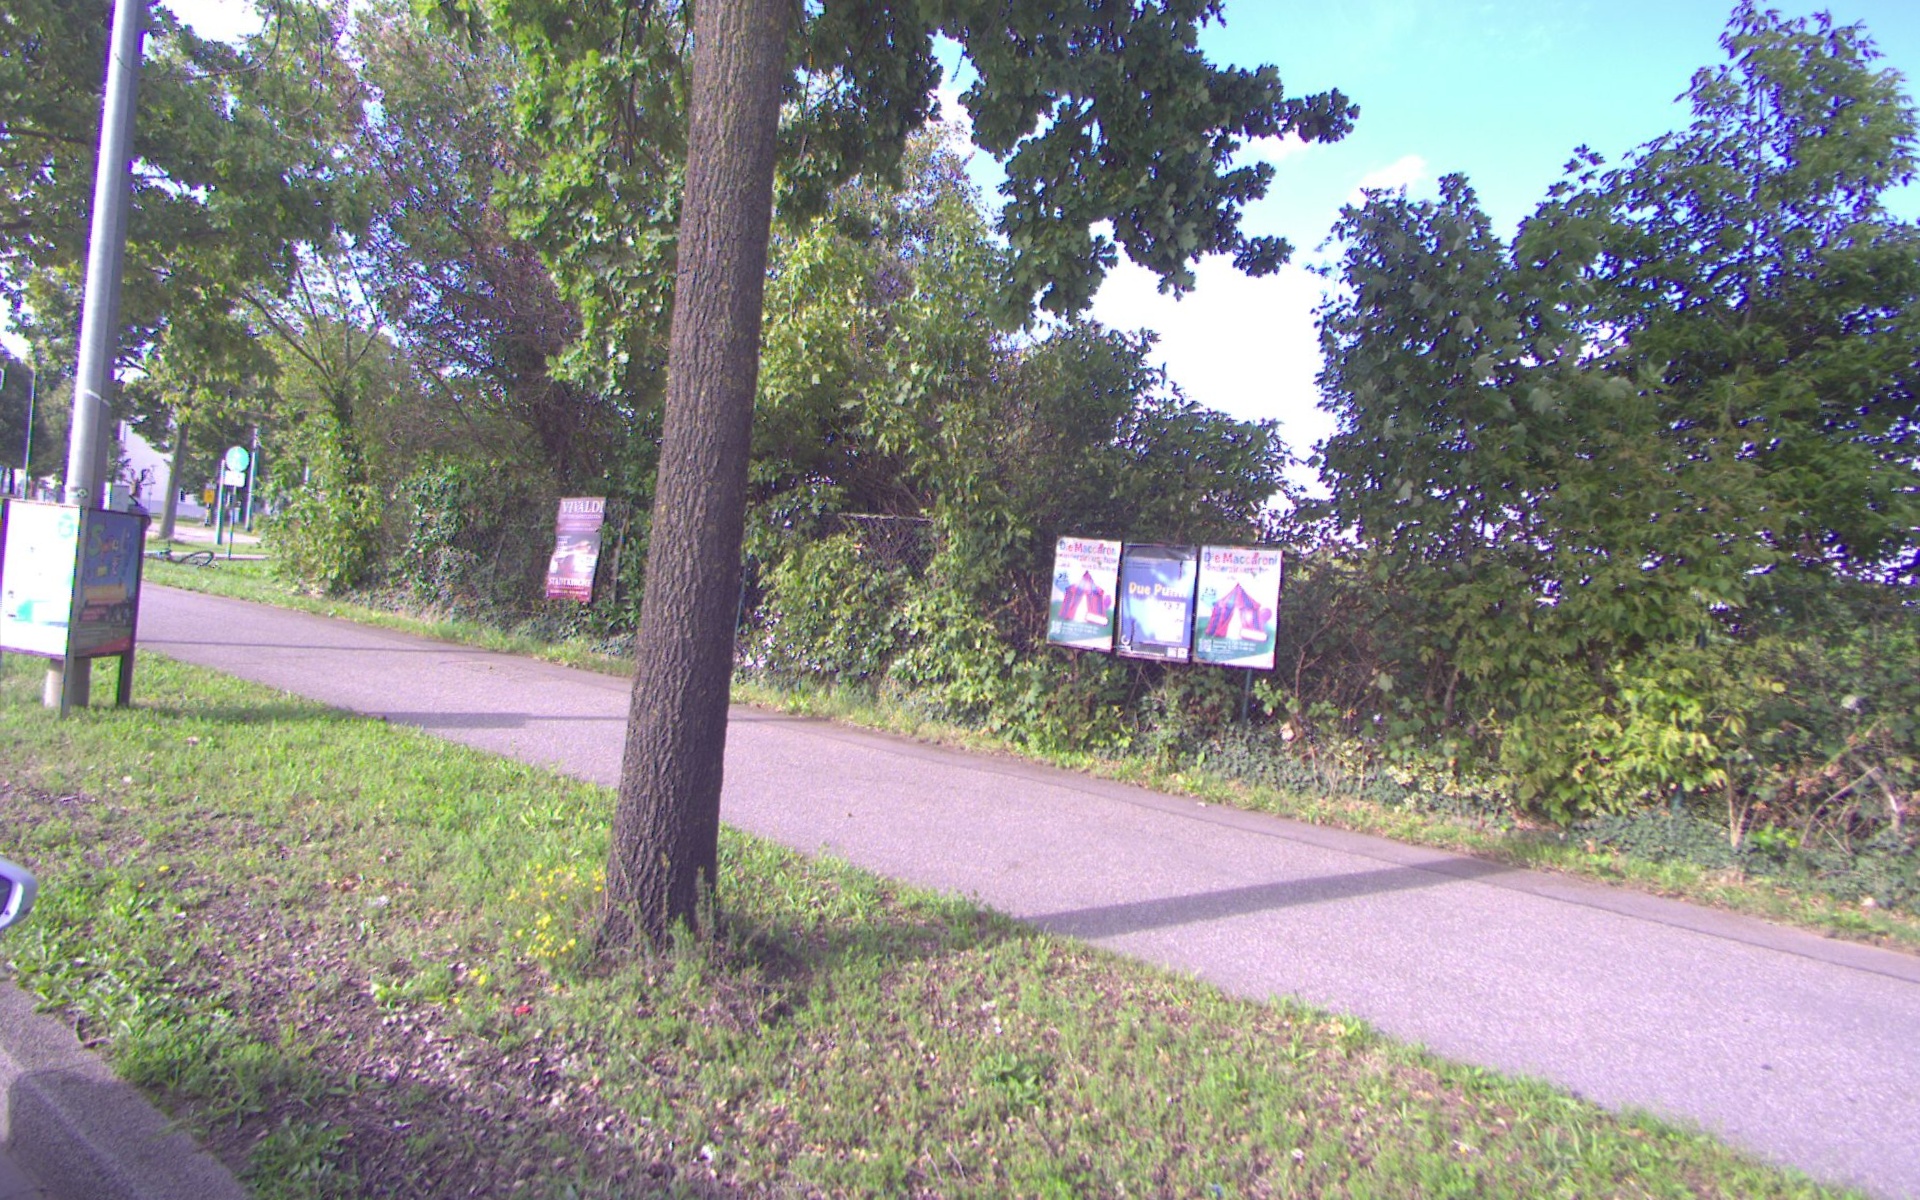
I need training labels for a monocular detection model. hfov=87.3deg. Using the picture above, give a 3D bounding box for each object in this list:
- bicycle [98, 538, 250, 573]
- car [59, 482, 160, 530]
[{"bbox_3d":[-16.468,-0.935,21.097,2.529,0.390,1.411,7,0,21],"label":"bicycle"},{"bbox_3d":[-36.334,-3.975,43.078,1.546,1.594,3.195,7,1,-3],"label":"car"}]
